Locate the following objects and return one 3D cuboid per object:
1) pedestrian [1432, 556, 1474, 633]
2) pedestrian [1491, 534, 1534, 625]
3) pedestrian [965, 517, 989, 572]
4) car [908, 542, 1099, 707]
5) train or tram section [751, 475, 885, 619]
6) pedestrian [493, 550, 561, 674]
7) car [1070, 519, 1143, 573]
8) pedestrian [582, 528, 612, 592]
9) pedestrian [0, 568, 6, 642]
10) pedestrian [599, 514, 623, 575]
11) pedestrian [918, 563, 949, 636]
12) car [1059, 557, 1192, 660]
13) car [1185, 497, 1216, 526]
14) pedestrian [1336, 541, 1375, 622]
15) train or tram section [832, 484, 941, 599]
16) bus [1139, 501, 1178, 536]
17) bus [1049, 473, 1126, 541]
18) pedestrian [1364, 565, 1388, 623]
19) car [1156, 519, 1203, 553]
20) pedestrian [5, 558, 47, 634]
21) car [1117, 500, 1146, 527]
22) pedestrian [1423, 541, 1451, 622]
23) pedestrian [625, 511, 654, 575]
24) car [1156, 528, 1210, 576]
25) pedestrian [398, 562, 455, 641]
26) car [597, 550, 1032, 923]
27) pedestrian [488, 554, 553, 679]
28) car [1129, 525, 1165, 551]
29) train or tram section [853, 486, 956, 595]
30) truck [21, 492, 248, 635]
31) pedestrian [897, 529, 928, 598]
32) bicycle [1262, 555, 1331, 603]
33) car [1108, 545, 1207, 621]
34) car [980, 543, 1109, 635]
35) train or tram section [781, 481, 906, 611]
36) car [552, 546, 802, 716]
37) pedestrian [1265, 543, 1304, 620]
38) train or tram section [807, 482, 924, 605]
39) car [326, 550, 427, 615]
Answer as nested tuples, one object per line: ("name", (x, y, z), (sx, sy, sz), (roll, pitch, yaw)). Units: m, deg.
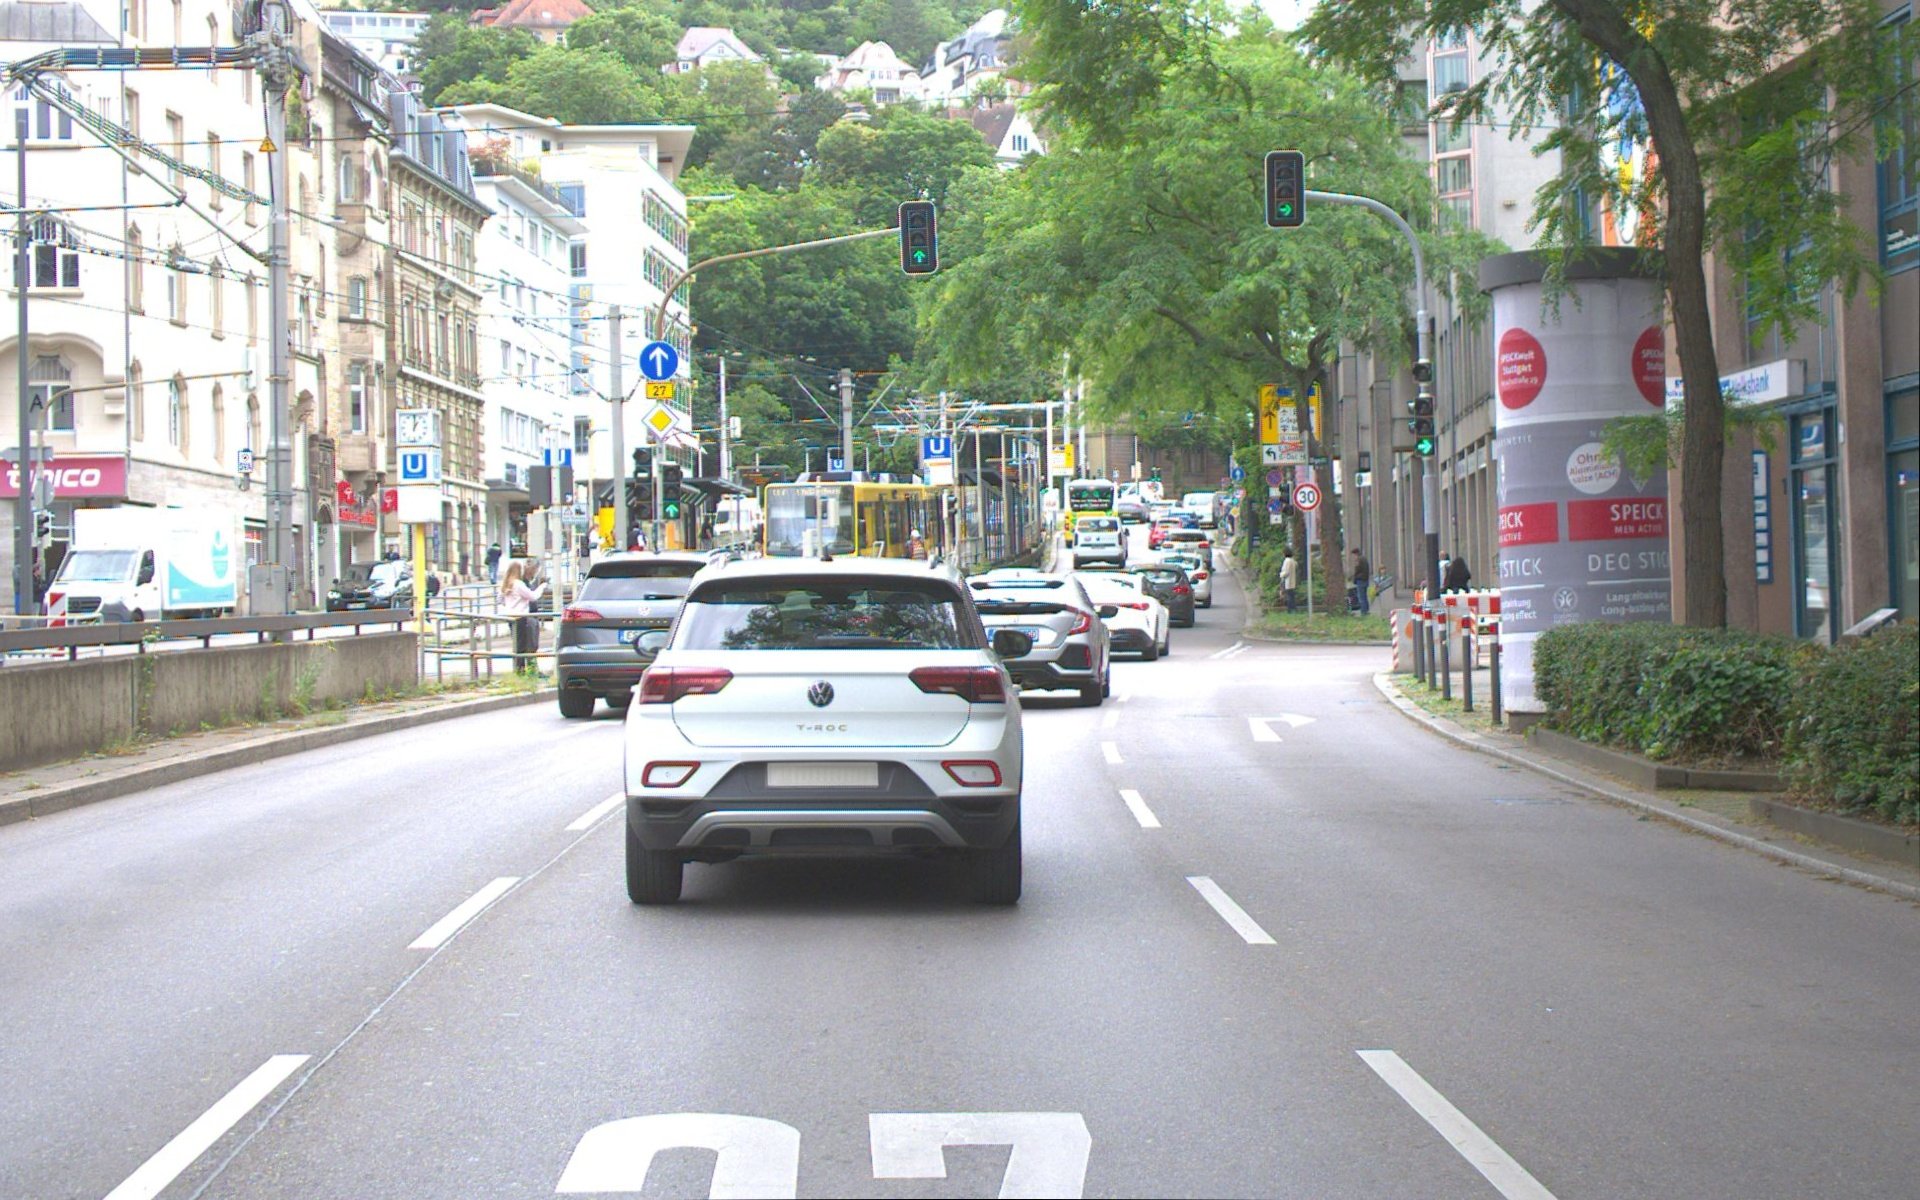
("pedestrian", (10.653, -0.112, 74.308), (0.762, 1.606, 0.618), (-2, 3, 16))
("pedestrian", (12.344, -0.459, 76.874), (0.835, 2.007, 0.764), (0, 0, 0))
("pedestrian", (0.546, -1.765, 109.472), (0.718, 1.725, 0.670), (0, 0, 6))
("car", (0.532, 0.239, 37.376), (1.885, 1.678, 4.161), (0, 0, 3))
("train or tram section", (-3.684, -1.419, 90.401), (2.835, 3.666, 5.751), (0, 1, 5))
("pedestrian", (-6.095, 0.163, 48.392), (0.792, 1.715, 0.772), (-1, 0, 4))
("car", (5.671, -2.072, 132.909), (2.365, 2.007, 5.146), (0, 0, 8))
("pedestrian", (-9.809, -1.085, 92.970), (0.688, 1.705, 0.662), (-1, 1, 3))
("pedestrian", (-23.357, 0.129, 82.244), (0.789, 1.774, 0.666), (0, 1, 35))
("pedestrian", (-9.853, -1.562, 97.178), (0.635, 1.705, 0.690), (-1, 1, -4))
("pedestrian", (-0.611, -0.015, 80.693), (0.635, 1.705, 0.871), (-1, 1, 4))
("car", (2.767, 0.132, 58.305), (1.884, 1.678, 4.161), (0, 0, -2))
("car", (13.545, -4.969, 193.661), (1.674, 1.555, 3.678), (0, 0, 4))
("pedestrian", (9.197, -0.438, 79.998), (0.721, 1.797, 0.834), (-3, 3, 0))
("train or tram section", (-2.259, -1.844, 107.642), (2.835, 3.509, 5.751), (0, 1, 5))
("bus", (11.625, -4.774, 201.648), (1.993, 2.007, 4.000), (0, 0, -1))
("bus", (6.340, -4.507, 168.799), (3.372, 3.054, 13.323), (0, 0, 4))
("pedestrian", (9.570, -0.148, 79.050), (0.471, 1.329, 0.520), (0, 0, 0))
("car", (11.354, -3.302, 177.629), (1.886, 1.678, 4.159), (0, 0, 11))
("pedestrian", (-21.857, -0.090, 80.455), (0.710, 1.774, 0.595), (0, 0, 20))
("car", (10.307, -5.168, 206.210), (1.674, 1.555, 3.986), (0, 0, 4))
("pedestrian", (10.620, -0.411, 76.584), (0.518, 1.783, 0.764), (0, 0, 0))
("pedestrian", (-8.901, -1.578, 95.485), (0.627, 1.756, 0.846), (-1, 1, 5))
("car", (8.112, -1.728, 124.732), (1.885, 1.678, 4.160), (0, 0, 5))
("pedestrian", (-11.600, 0.031, 74.750), (0.876, 1.699, 0.811), (0, 1, 33))
("car", (-0.701, 0.567, 16.665), (1.837, 1.578, 4.157), (0, 0, -2))
("pedestrian", (-6.081, 0.225, 47.636), (0.764, 1.715, 0.637), (-1, 0, 4))
("car", (8.773, -2.884, 161.028), (1.582, 1.168, 3.678), (0, 0, 4))
("train or tram section", (-1.788, -1.978, 113.380), (2.835, 3.509, 5.751), (0, 1, 5))
("truck", (-18.441, -0.803, 77.307), (2.267, 3.066, 7.371), (0, 0, 9))
("pedestrian", (-1.179, -0.909, 85.907), (0.685, 1.705, 0.712), (-1, 1, 4))
("bicycle", (8.952, -0.553, 91.447), (1.707, 1.180, 0.449), (-3, 1, -3))
("car", (5.394, -0.473, 94.657), (2.364, 2.007, 5.148), (0, 0, -1))
("car", (1.961, -0.259, 77.499), (2.365, 2.007, 5.146), (0, 0, 8))
("train or tram section", (-3.221, -1.527, 96.148), (2.835, 3.509, 5.751), (0, 1, 5))
("car", (-2.818, 0.282, 35.120), (1.994, 1.630, 4.000), (0, 0, 3))
("pedestrian", (7.674, -0.443, 81.377), (0.693, 1.771, 0.689), (-5, 1, 0))
("train or tram section", (-2.753, -1.693, 101.882), (2.835, 3.509, 5.751), (0, 1, 5))
("car", (-16.261, -0.484, 95.968), (1.674, 1.753, 4.781), (0, 0, 4))
